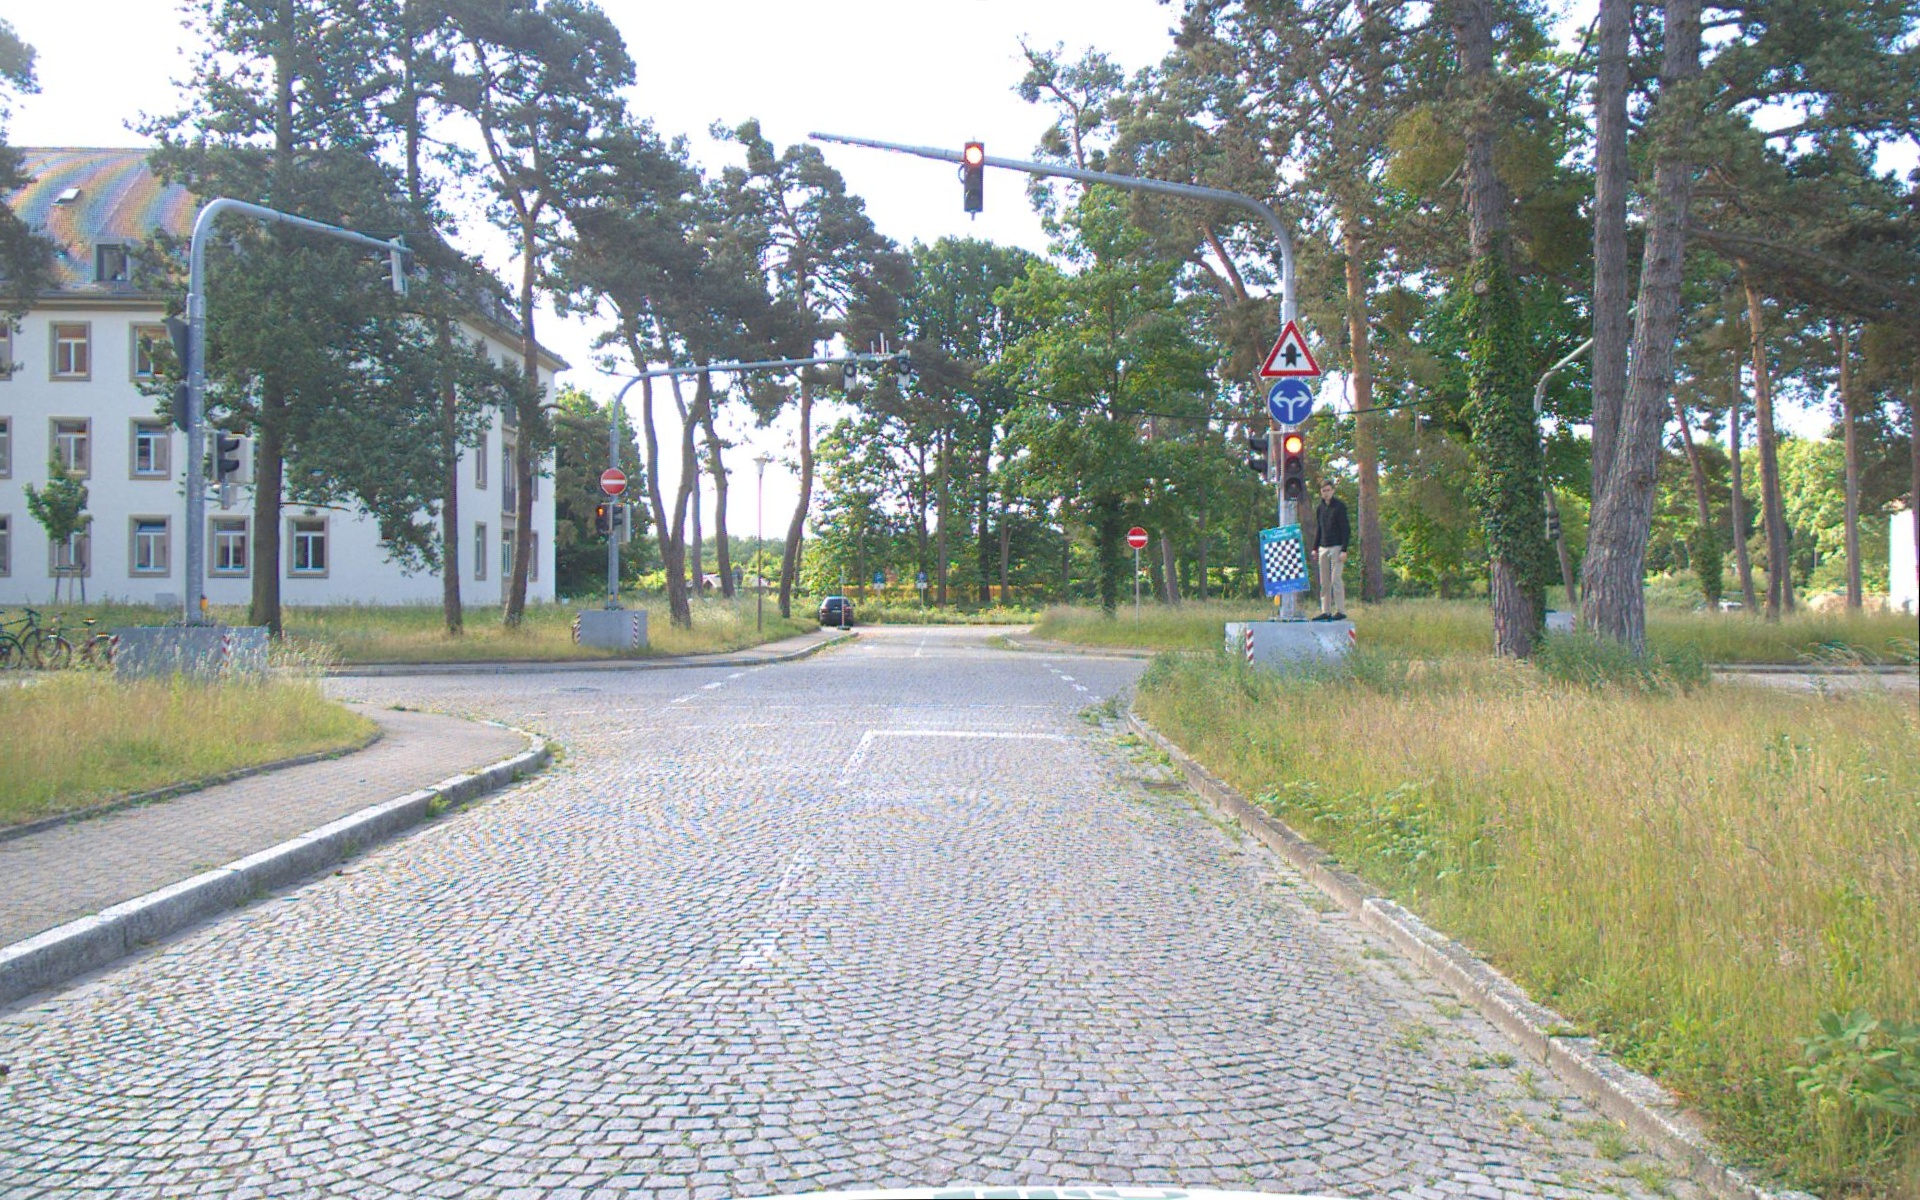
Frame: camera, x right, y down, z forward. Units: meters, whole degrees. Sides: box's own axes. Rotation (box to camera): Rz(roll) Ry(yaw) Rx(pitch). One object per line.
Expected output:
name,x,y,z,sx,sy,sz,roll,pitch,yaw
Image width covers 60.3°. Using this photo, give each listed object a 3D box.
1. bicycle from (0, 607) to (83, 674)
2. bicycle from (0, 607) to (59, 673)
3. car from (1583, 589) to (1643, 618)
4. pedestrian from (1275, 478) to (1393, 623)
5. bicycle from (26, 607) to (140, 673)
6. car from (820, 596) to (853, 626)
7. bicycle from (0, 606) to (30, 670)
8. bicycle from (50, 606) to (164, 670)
bicycle,-18.066,0.775,32.465,0.620,1.242,2.114,0,0,-1
bicycle,-18.541,0.766,32.444,0.620,1.242,2.123,0,0,-1
car,37.820,0.192,95.834,1.790,1.609,4.162,0,0,-1
pedestrian,4.914,-0.631,21.744,1.150,1.827,1.057,-1,0,41
bicycle,-16.816,0.759,31.736,1.824,1.242,0.635,0,0,-1
car,-6.645,0.578,89.256,1.675,1.522,3.916,0,0,-3
bicycle,-19.134,0.754,32.437,0.620,1.242,2.104,0,0,-1
bicycle,-16.727,0.737,32.452,1.905,1.242,0.635,0,0,-1
